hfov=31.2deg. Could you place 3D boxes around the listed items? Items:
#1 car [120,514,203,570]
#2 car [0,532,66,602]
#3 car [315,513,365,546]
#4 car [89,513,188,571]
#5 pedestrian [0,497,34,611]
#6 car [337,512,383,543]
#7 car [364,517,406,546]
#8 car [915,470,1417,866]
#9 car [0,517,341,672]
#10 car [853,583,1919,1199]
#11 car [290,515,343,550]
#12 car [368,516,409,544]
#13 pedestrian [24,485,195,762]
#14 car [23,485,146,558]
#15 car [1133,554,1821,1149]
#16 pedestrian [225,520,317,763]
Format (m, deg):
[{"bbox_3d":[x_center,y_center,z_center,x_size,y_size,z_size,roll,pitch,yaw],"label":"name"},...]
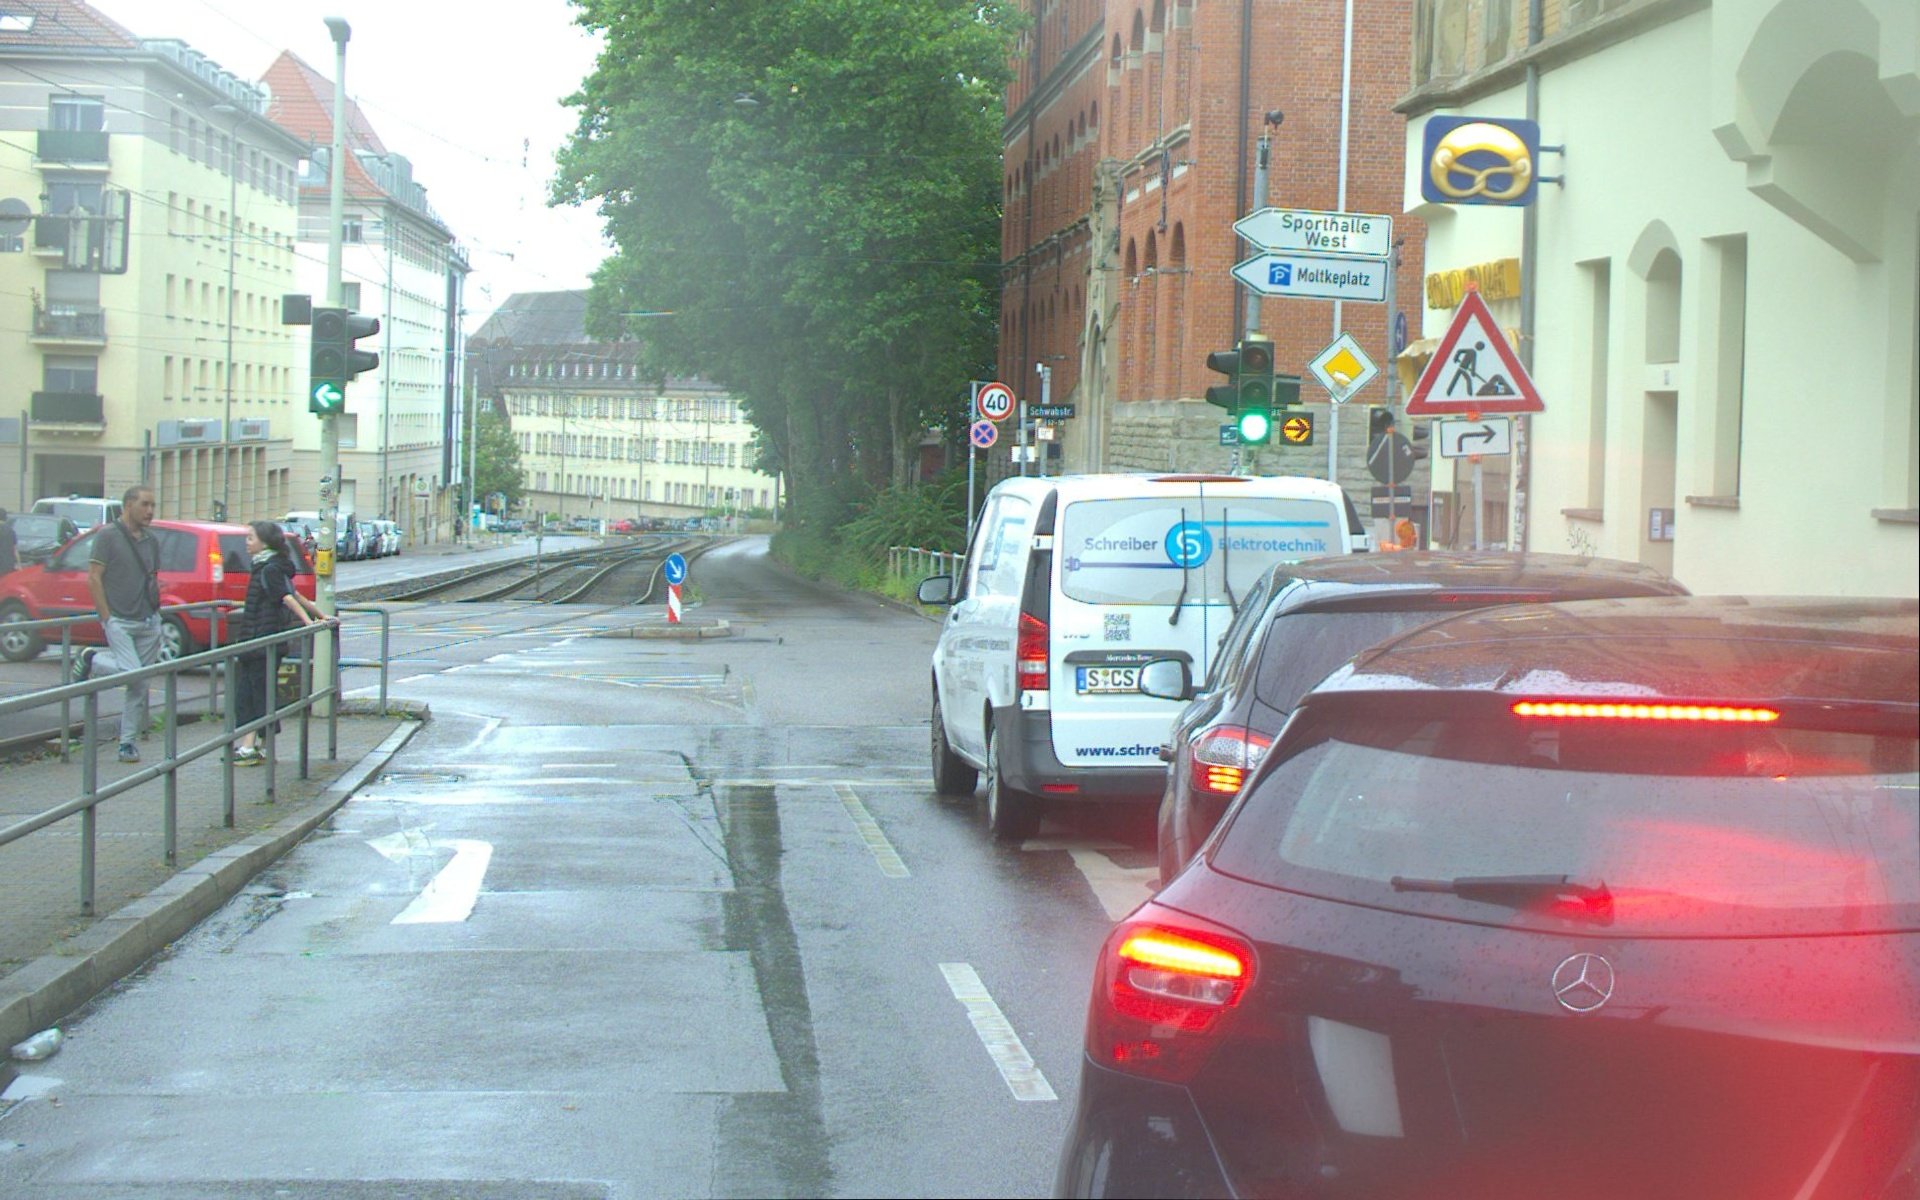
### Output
[{"bbox_3d":[-20.216,-1.482,87.153,1.499,1.351,3.162,1,1,-3],"label":"car"},{"bbox_3d":[-19.239,-0.690,69.880,1.451,1.314,3.296,2,1,-5],"label":"car"},{"bbox_3d":[-22.758,-2.588,126.313,1.395,1.167,3.162,1,1,-3],"label":"car"},{"bbox_3d":[-19.891,-1.411,83.334,1.680,1.351,3.703,1,1,-3],"label":"car"},{"bbox_3d":[-14.017,-0.679,50.737,0.518,1.660,0.477,3,1,0],"label":"pedestrian"},{"bbox_3d":[-23.656,-2.869,135.667,1.395,1.167,3.162,1,1,-3],"label":"car"},{"bbox_3d":[-24.032,-2.874,143.734,1.395,1.167,3.162,1,1,-3],"label":"car"},{"bbox_3d":[0.949,0.271,18.323,1.933,1.825,4.282,1,1,-6],"label":"car"},{"bbox_3d":[-8.233,-0.092,35.418,3.609,1.484,1.681,2,2,38],"label":"car"},{"bbox_3d":[1.579,0.693,6.089,1.897,1.385,3.994,2,1,26],"label":"car"},{"bbox_3d":[-22.459,-2.355,120.021,1.395,1.167,3.162,1,1,-3],"label":"car"},{"bbox_3d":[-24.636,-3.024,148.197,1.395,1.167,3.162,1,1,-3],"label":"car"},{"bbox_3d":[-5.406,0.140,21.856,0.740,1.718,0.739,2,1,43],"label":"pedestrian"},{"bbox_3d":[-19.435,-1.746,76.480,1.786,1.525,4.463,1,1,-3],"label":"car"},{"bbox_3d":[1.469,0.614,10.983,1.713,1.464,4.280,2,1,4],"label":"car"},{"bbox_3d":[-4.381,0.258,21.857,0.531,1.525,0.437,1,1,-11],"label":"pedestrian"}]
